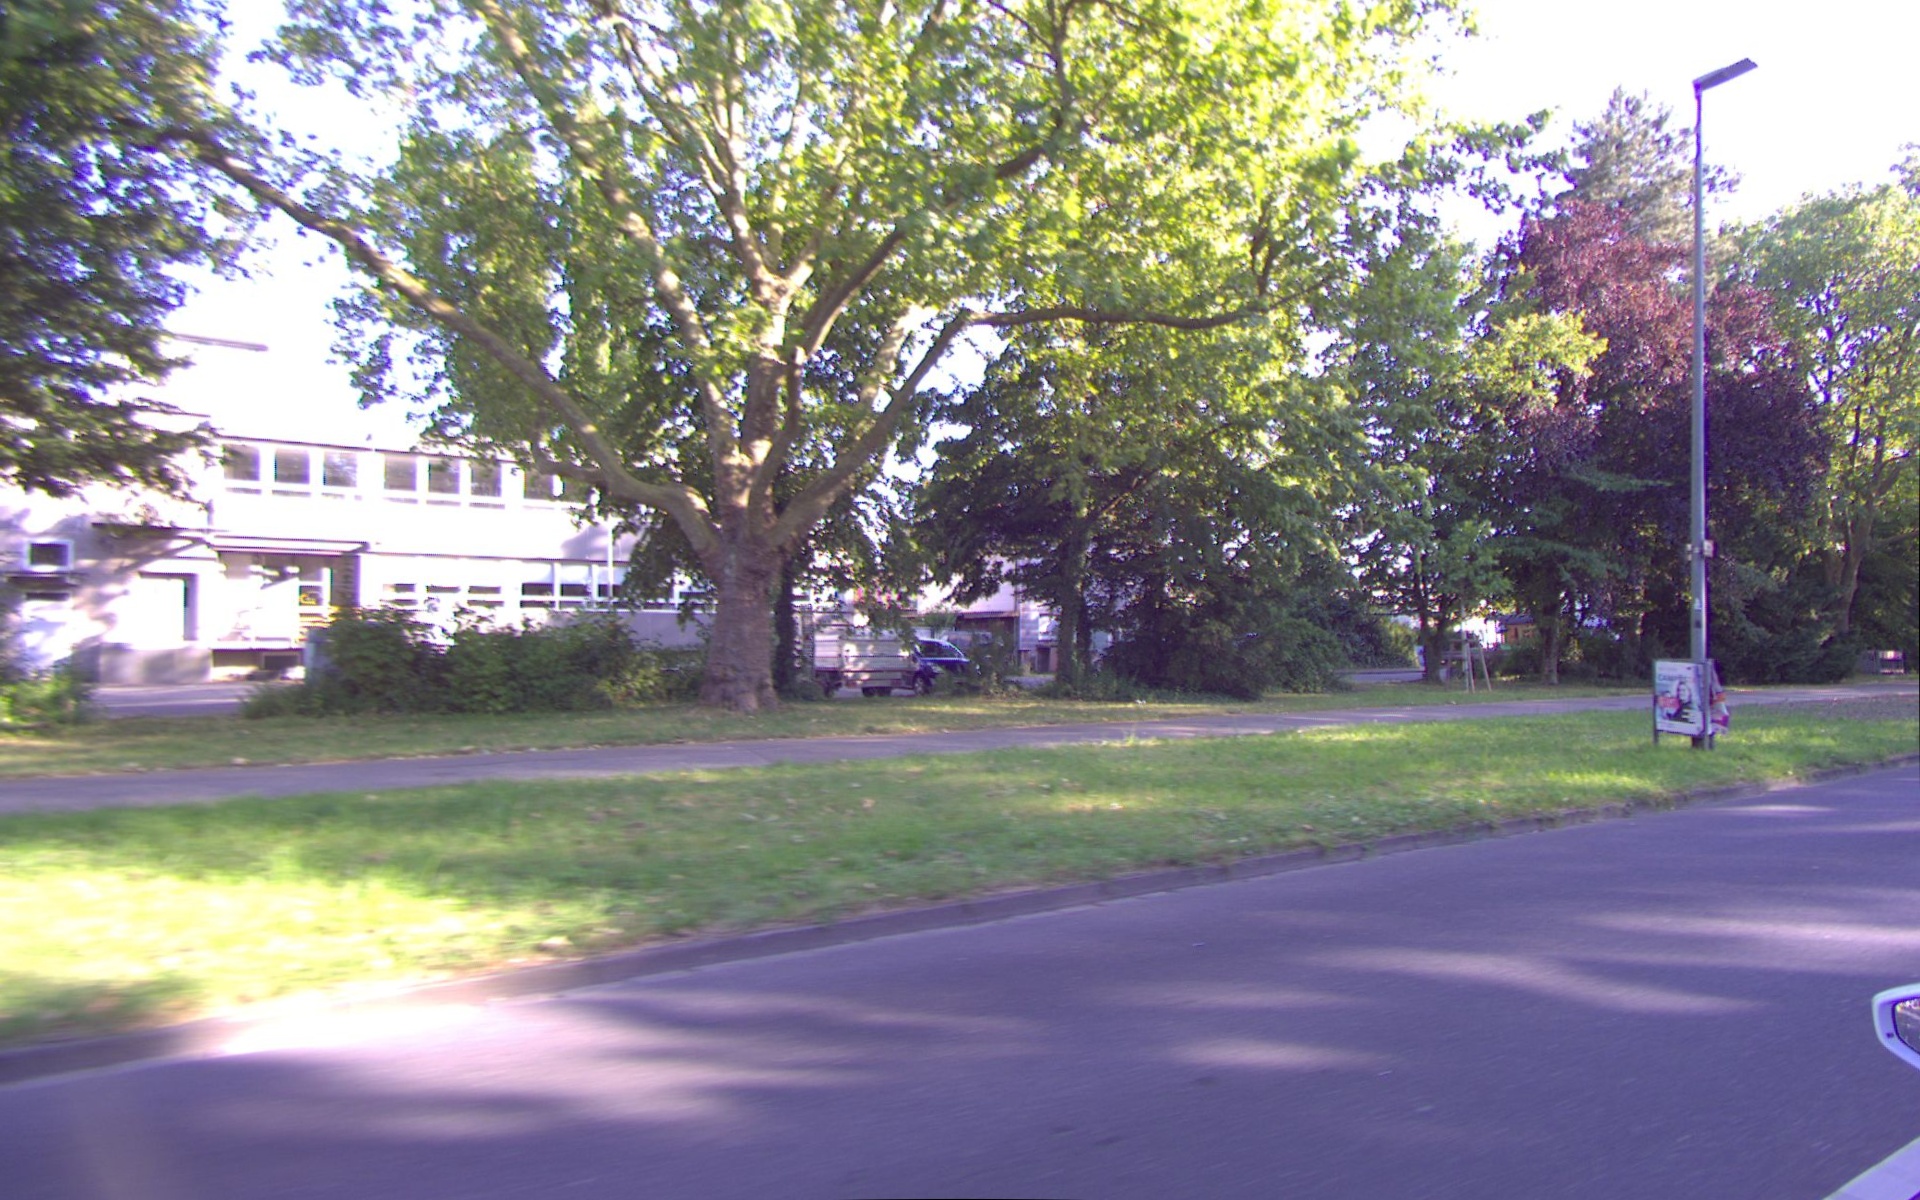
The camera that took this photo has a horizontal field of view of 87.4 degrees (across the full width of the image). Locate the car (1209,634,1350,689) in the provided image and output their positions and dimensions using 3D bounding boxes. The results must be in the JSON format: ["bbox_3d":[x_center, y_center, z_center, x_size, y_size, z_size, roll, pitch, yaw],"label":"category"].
[{"bbox_3d":[10.138,1.927,32.077,1.911,1.622,3.960,3,-3,-36],"label":"car"}]

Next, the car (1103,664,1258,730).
[{"bbox_3d":[6.017,2.614,27.818,1.911,1.622,3.960,3,-3,-36],"label":"car"}]

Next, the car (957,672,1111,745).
[{"bbox_3d":[1.846,2.729,26.020,1.911,1.622,3.960,3,-3,-36],"label":"car"}]

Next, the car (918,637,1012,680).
[{"bbox_3d":[0.144,2.339,40.854,1.911,1.654,3.961,2,-3,-35],"label":"car"}]

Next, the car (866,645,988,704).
[{"bbox_3d":[-0.889,1.837,25.496,1.504,1.382,3.366,2,-3,-35],"label":"car"}]

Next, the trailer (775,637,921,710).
[{"bbox_3d":[-2.764,1.672,23.983,1.978,1.576,3.966,1,-3,-32],"label":"trailer"}]

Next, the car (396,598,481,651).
[{"bbox_3d":[-16.967,0.840,32.619,1.911,1.622,3.961,2,-3,-35],"label":"car"}]
